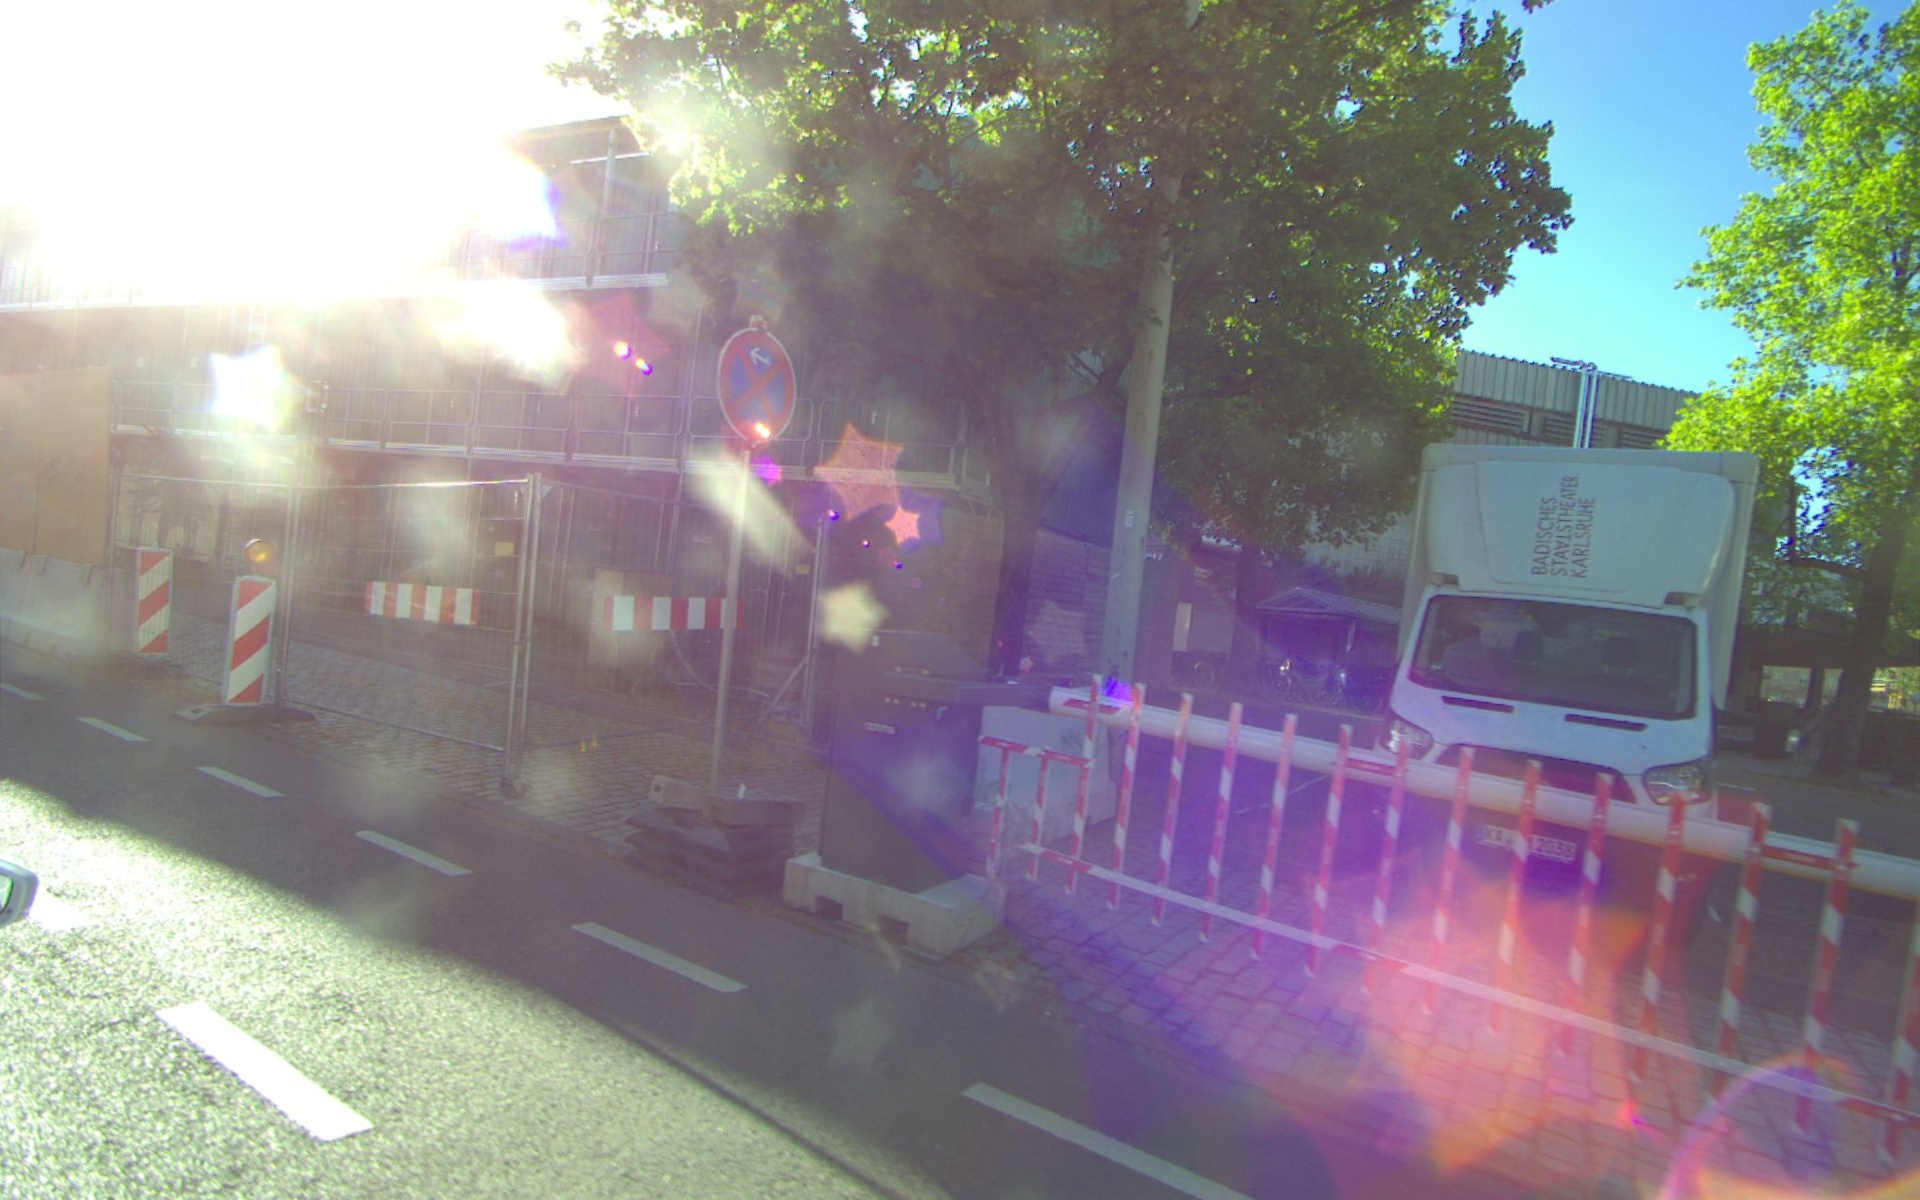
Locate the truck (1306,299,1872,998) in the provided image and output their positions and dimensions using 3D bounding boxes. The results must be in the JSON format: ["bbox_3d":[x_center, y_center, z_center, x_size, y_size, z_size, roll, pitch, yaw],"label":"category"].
[{"bbox_3d":[5.092,0.349,8.609,2.332,3.461,7.082,6,0,31],"label":"truck"}]
